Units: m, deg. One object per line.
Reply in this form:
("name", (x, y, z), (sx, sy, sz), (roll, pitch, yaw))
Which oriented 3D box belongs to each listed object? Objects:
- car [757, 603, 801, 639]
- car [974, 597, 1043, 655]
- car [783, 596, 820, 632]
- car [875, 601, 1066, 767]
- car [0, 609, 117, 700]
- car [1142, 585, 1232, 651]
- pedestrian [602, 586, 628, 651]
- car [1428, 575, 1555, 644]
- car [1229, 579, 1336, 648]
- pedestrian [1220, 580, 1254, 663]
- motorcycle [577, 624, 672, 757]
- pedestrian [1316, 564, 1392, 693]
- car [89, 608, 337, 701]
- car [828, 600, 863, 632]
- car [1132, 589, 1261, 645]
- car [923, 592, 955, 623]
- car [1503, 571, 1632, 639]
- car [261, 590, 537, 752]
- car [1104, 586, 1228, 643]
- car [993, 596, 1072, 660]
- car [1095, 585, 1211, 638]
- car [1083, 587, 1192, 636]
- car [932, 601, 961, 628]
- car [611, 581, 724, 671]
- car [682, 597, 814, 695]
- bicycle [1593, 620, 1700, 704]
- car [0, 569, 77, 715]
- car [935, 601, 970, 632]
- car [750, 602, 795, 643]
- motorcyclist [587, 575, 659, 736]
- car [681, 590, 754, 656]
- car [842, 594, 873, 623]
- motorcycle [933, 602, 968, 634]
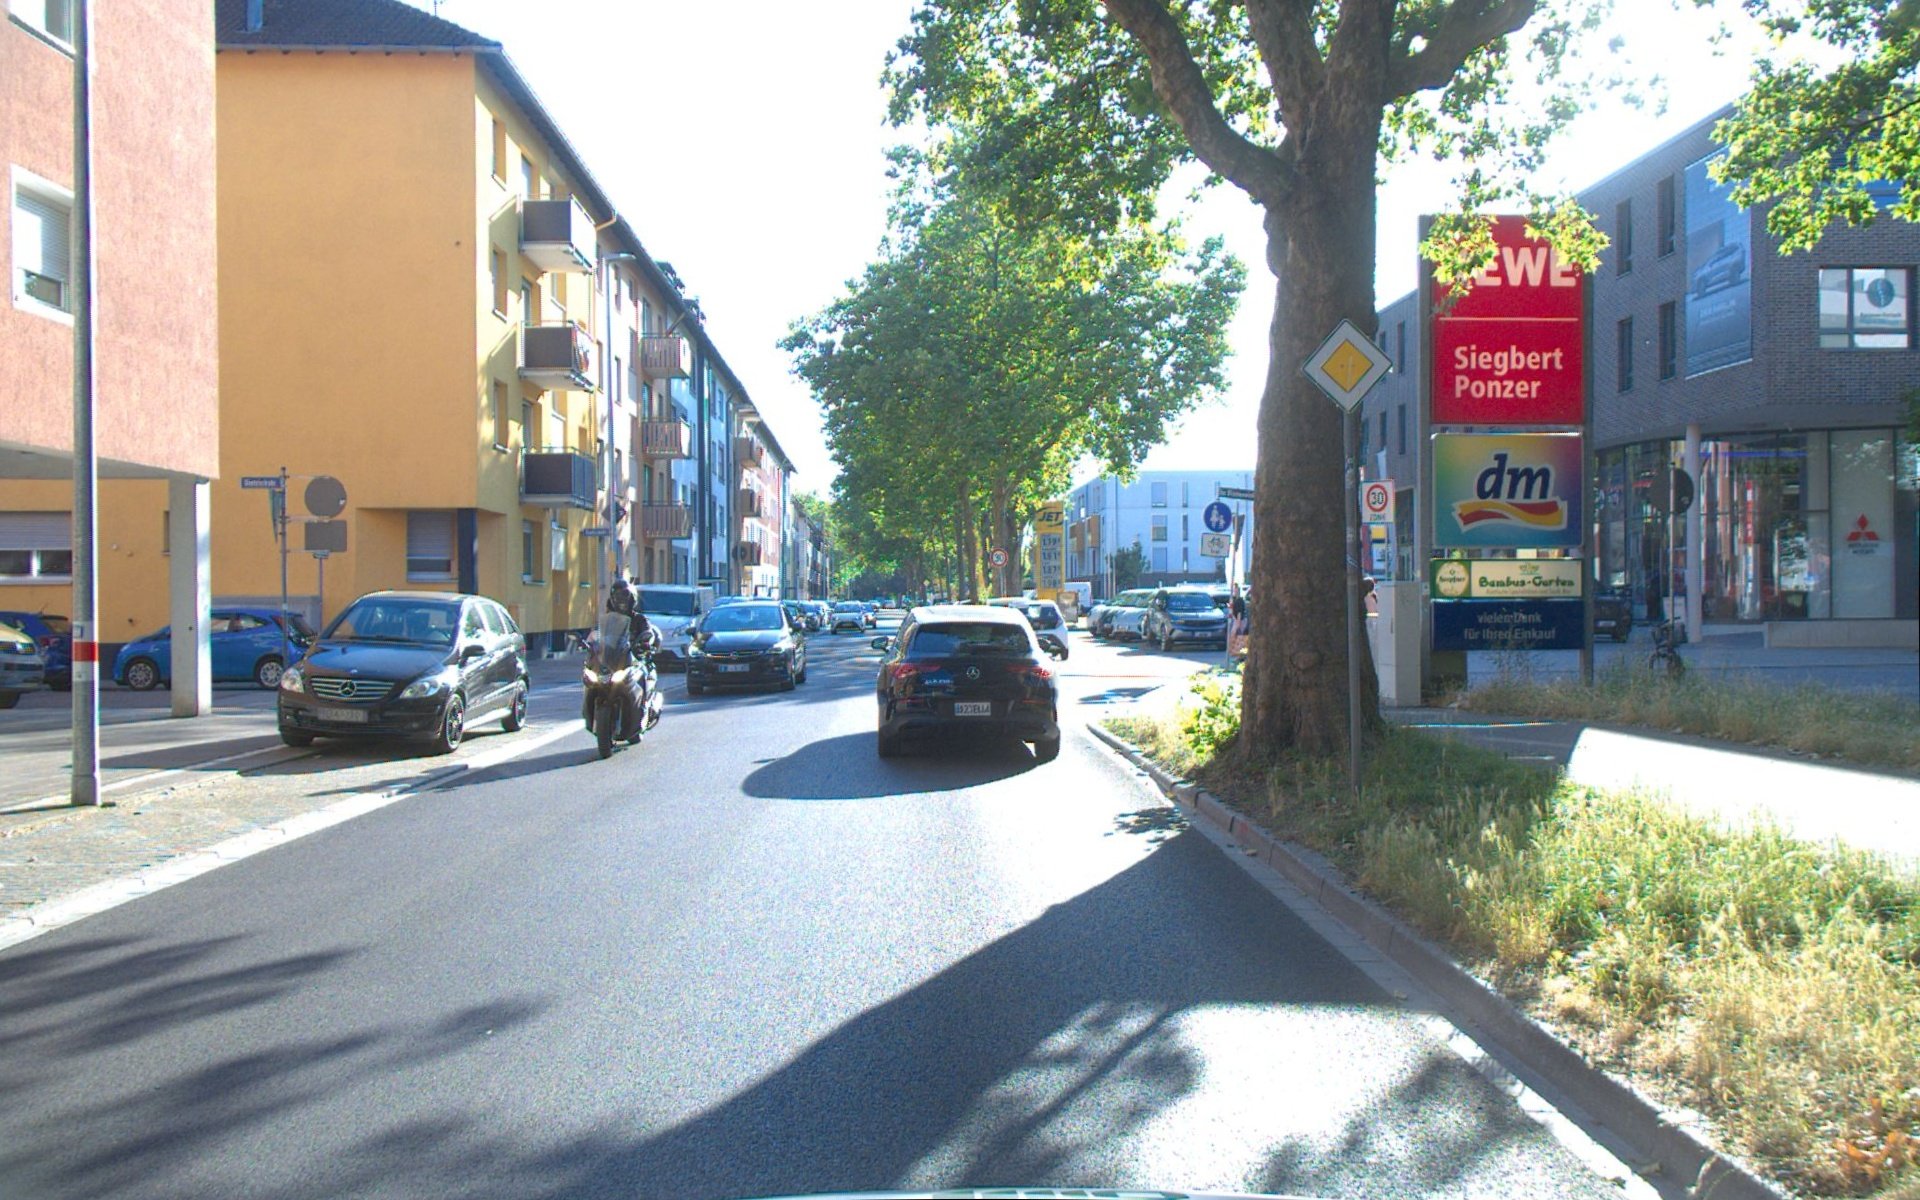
("car", (-7.760, 0.877, 71.309), (1.564, 1.459, 4.215), (1, 0, -2))
("car", (1.407, 0.766, 49.387), (1.774, 1.565, 4.582), (-3, -1, -1))
("car", (-7.541, 0.649, 79.088), (1.565, 1.658, 3.835), (1, 0, -3))
("car", (0.157, 0.760, 16.930), (1.708, 1.469, 3.970), (1, 0, 2))
("car", (-17.775, 0.996, 30.131), (3.909, 1.594, 1.748), (-1, 0, -1))
("car", (6.176, 0.480, 45.385), (1.717, 1.699, 4.156), (-1, 0, -2))
("pedestrian", (-9.807, 0.521, 47.054), (0.575, 1.821, 0.642), (-1, 0, -1))
("car", (14.364, 0.248, 44.924), (1.839, 1.764, 4.177), (-1, 0, -4))
("car", (8.817, 0.348, 45.558), (1.790, 1.762, 4.364), (-1, 0, -4))
("pedestrian", (5.991, 0.460, 35.766), (0.677, 1.753, 0.722), (-1, 0, 11))
("motorcycle", (-3.480, 0.900, 17.309), (0.536, 1.263, 2.263), (-3, 0, -2))
("pedestrian", (5.636, 0.399, 23.664), (0.756, 1.792, 0.660), (-2, 0, -19))
("car", (-13.568, 0.969, 30.211), (3.707, 1.594, 1.748), (-1, 0, -1))
("car", (-5.645, 0.763, 81.972), (1.606, 1.550, 3.932), (0, 0, -2))
("car", (7.121, 0.483, 49.645), (3.776, 1.572, 1.642), (-1, 0, -36))
("car", (-1.496, 0.546, 115.165), (1.955, 2.049, 3.995), (0, -2, -5))
("car", (16.730, 0.132, 45.789), (1.945, 1.764, 4.179), (-1, 0, -1))
("car", (-5.992, 0.691, 18.158), (1.643, 1.550, 4.020), (1, 0, 0))
("car", (6.508, 0.432, 52.178), (3.780, 1.638, 1.718), (-2, 1, -38))
("car", (1.813, 0.704, 42.567), (1.602, 1.493, 4.018), (-2, -1, -3))
("car", (6.489, 0.375, 55.367), (3.783, 1.606, 1.716), (-2, 1, -40))
("car", (6.341, 0.399, 58.914), (3.783, 1.606, 1.721), (-2, 1, -40))
("car", (-0.838, 0.888, 102.079), (1.600, 1.585, 3.598), (1, -1, -3))
("car", (-6.689, 0.551, 38.369), (1.698, 1.940, 5.208), (0, 0, 0))
("car", (-3.530, 0.726, 28.201), (1.735, 1.504, 4.321), (-1, 0, -1))
("bicycle", (8.745, 0.775, 21.117), (0.377, 1.021, 1.479), (-1, 0, -18))
("car", (-15.783, 0.632, 24.200), (4.649, 2.049, 1.919), (-1, 0, 0))
("car", (-0.418, 0.901, 90.032), (1.687, 1.585, 3.598), (1, -1, -3))
("car", (-7.393, 0.853, 65.467), (1.517, 1.550, 4.002), (1, 0, -3))
("motorcyclist", (-3.500, 0.563, 17.218), (0.574, 1.633, 0.831), (-1, 0, -2))
("car", (-7.109, 0.640, 48.848), (1.710, 1.819, 4.546), (1, 0, -3))
("car", (-5.837, 0.483, 94.636), (1.630, 1.550, 4.410), (-2, 0, -2))
("motorcycle", (-0.464, 0.894, 82.797), (1.620, 1.585, 0.607), (1, -1, -24))
